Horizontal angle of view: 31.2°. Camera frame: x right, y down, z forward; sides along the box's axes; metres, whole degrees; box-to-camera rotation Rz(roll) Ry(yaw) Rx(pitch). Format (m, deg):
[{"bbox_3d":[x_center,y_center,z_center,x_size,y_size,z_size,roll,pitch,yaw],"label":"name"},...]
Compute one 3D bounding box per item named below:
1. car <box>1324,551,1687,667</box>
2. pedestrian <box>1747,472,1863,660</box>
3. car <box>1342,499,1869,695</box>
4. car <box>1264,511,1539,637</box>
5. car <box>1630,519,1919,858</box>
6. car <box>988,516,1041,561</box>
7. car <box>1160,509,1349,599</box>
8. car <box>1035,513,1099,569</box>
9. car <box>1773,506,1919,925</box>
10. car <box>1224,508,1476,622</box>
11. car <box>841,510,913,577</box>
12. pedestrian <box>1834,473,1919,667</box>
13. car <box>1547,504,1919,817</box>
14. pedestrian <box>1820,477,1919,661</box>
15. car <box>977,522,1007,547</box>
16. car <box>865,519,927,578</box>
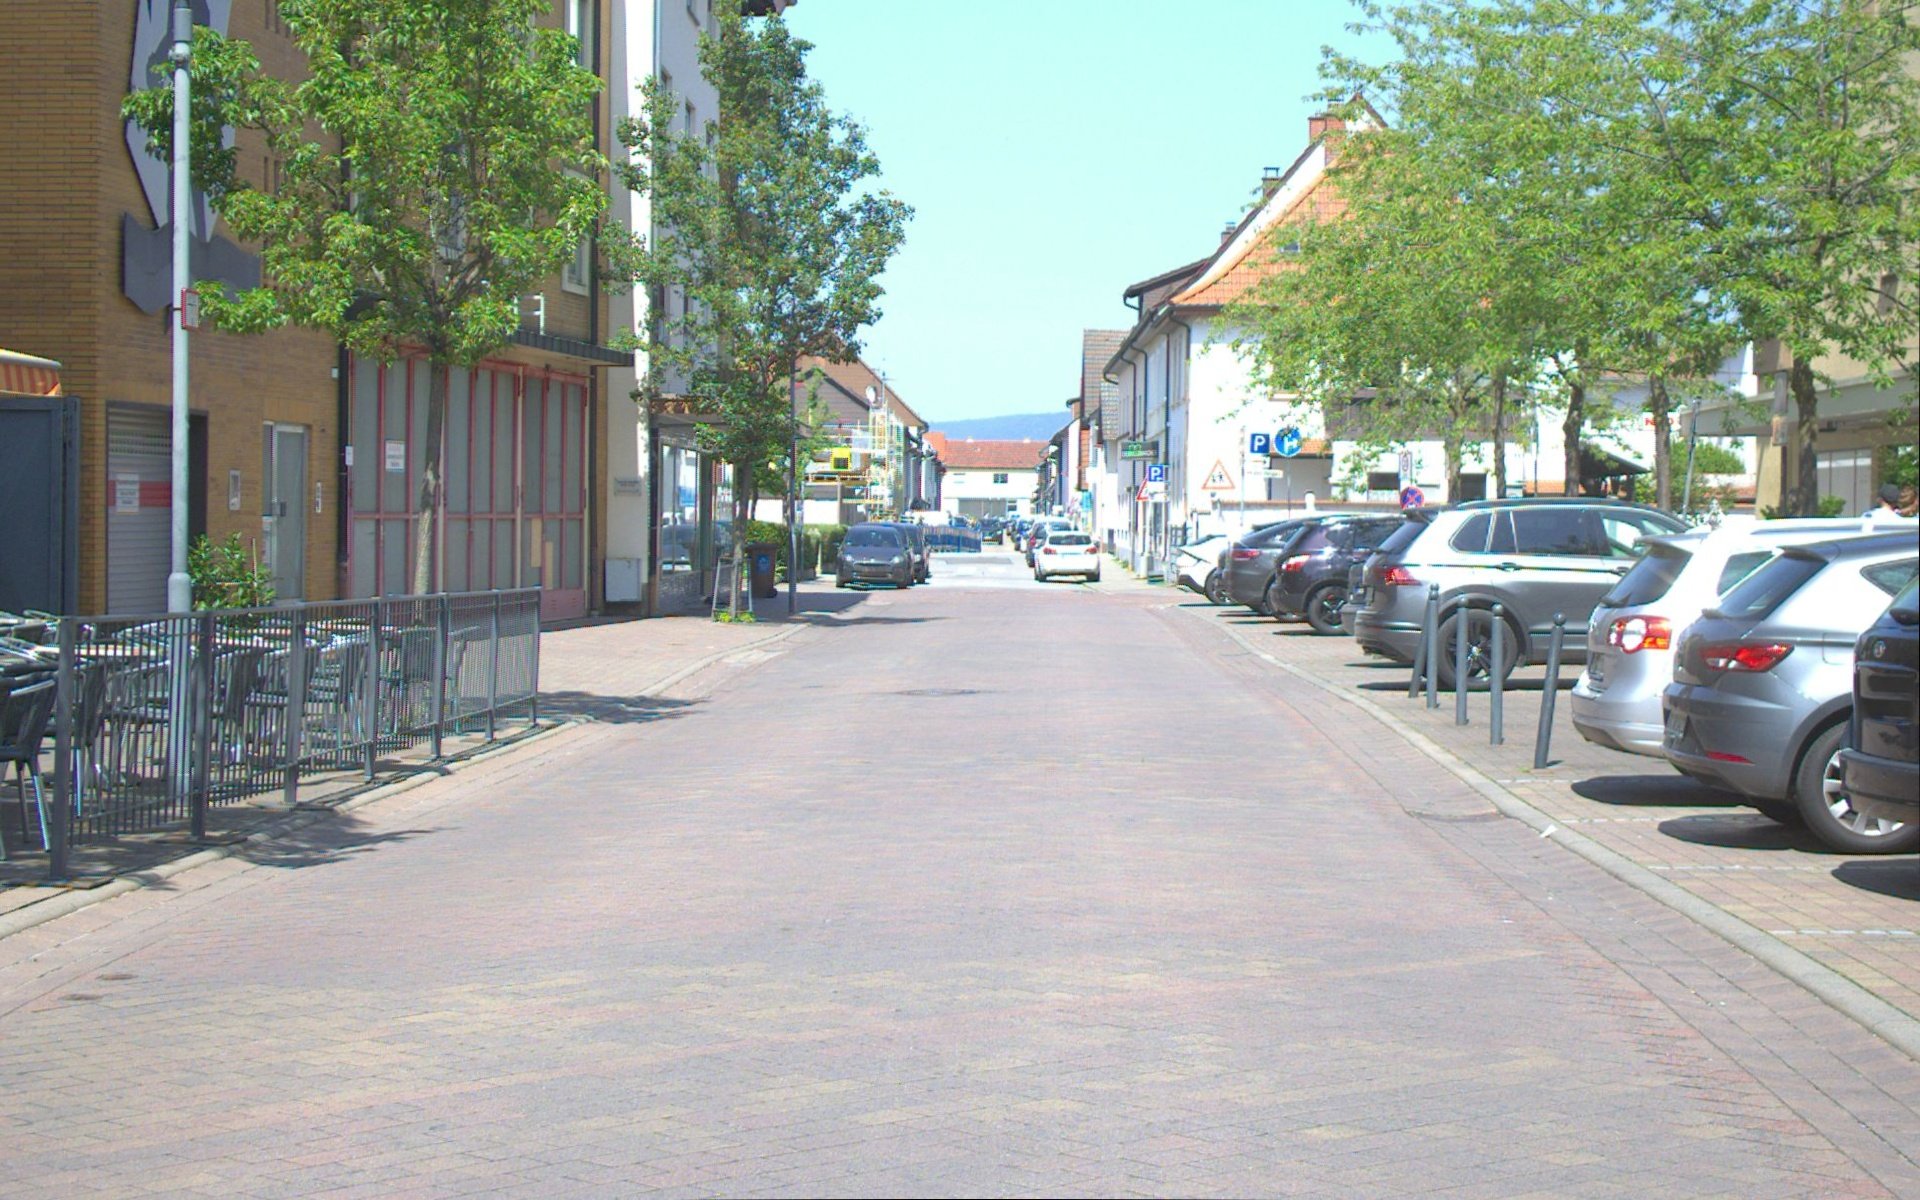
[{"bbox_3d":[5.615,0.084,35.577,3.521,1.138,1.274,1,1,-2],"label":"car"},{"bbox_3d":[8.142,-0.341,33.144,0.837,1.780,0.807,0,2,-5],"label":"pedestrian"},{"bbox_3d":[5.508,-0.045,29.676,4.244,1.610,1.558,1,2,1],"label":"car"},{"bbox_3d":[5.985,-0.359,46.891,3.522,1.649,1.711,1,1,1],"label":"car"},{"bbox_3d":[5.160,0.377,15.847,3.938,1.484,1.715,0,1,7],"label":"car"},{"bbox_3d":[1.924,-2.179,120.752,1.747,1.476,3.629,1,2,2],"label":"car"},{"bbox_3d":[5.733,-0.899,67.028,3.478,1.694,1.536,0,1,-3],"label":"car"},{"bbox_3d":[3.140,-1.755,101.051,1.831,1.526,3.945,1,2,2],"label":"car"},{"bbox_3d":[5.570,0.406,13.637,4.181,1.535,1.946,0,1,-2],"label":"car"},{"bbox_3d":[5.717,-0.524,50.680,3.522,1.619,1.711,1,1,1],"label":"car"},{"bbox_3d":[-1.977,-1.384,82.376,1.508,1.495,3.827,1,2,2],"label":"car"},{"bbox_3d":[8.607,-0.292,32.077,0.838,1.780,0.806,1,2,14],"label":"pedestrian"},{"bbox_3d":[5.366,0.301,18.507,4.153,1.568,1.759,1,2,3],"label":"car"},{"bbox_3d":[8.997,-0.313,33.714,0.837,1.780,0.807,0,2,-5],"label":"pedestrian"},{"bbox_3d":[2.048,-4.147,218.041,1.747,1.476,3.629,1,2,2],"label":"car"},{"bbox_3d":[-1.727,-1.423,94.333,1.508,1.495,3.827,1,2,2],"label":"car"}]
